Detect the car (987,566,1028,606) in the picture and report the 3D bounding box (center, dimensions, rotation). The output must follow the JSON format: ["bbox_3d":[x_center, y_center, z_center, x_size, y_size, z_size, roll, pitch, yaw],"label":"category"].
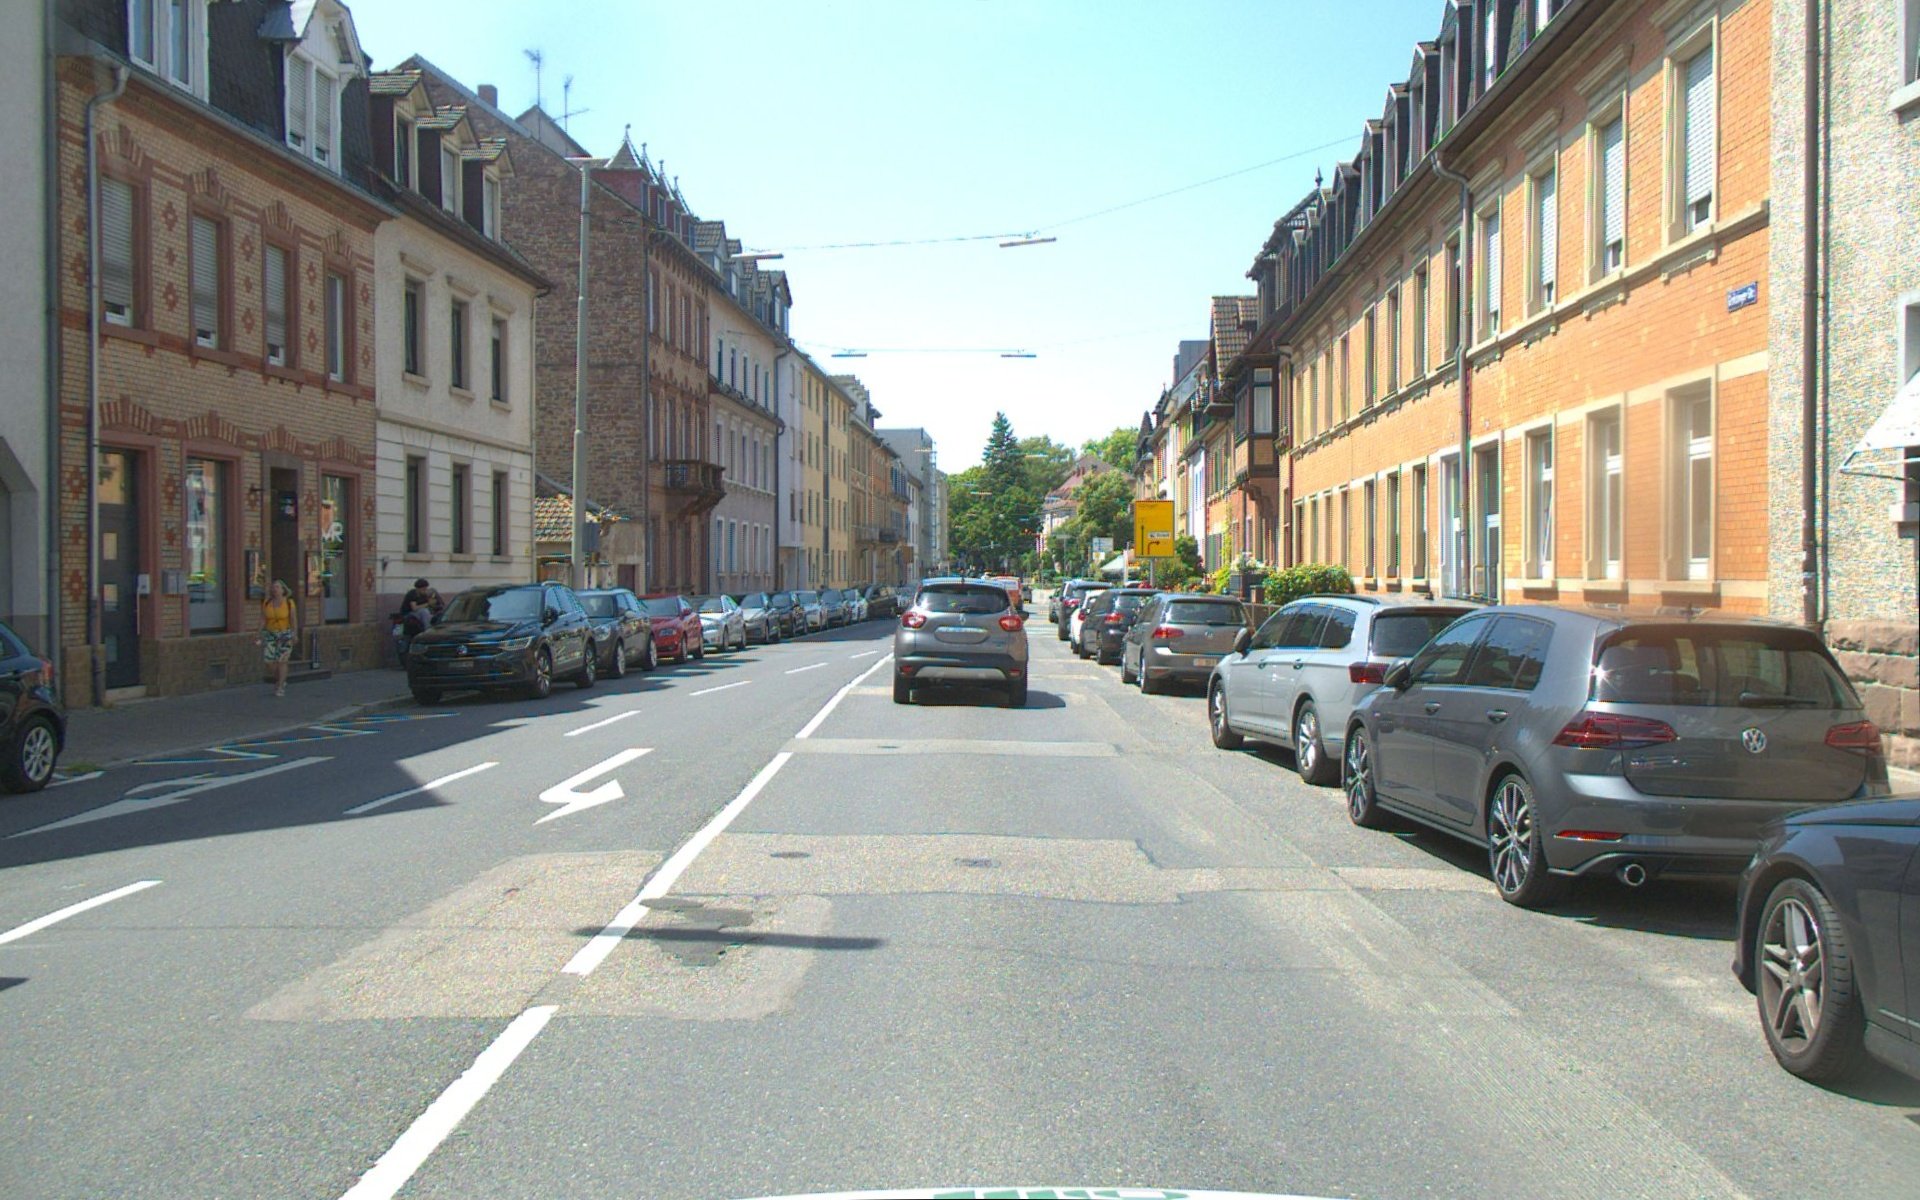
[{"bbox_3d":[2.571,-0.774,88.593,1.952,2.049,4.469,-1,1,4],"label":"car"}]

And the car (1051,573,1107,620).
[{"bbox_3d":[4.689,-0.168,65.801,1.822,1.778,4.618,1,1,-1],"label":"car"}]

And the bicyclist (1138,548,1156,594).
[{"bbox_3d":[6.192,-0.965,54.664,0.521,1.495,0.791,-1,0,3],"label":"bicyclist"}]

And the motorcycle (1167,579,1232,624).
[{"bbox_3d":[8.248,0.040,56.955,2.085,1.433,0.938,-2,0,1],"label":"motorcycle"}]

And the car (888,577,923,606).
[{"bbox_3d":[-3.394,-0.553,103.513,1.865,1.648,4.304,-3,1,2],"label":"car"}]

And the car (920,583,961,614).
[{"bbox_3d":[-0.912,-0.096,78.988,1.753,1.445,4.316,0,1,1],"label":"car"}]

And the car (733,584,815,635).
[{"bbox_3d":[-5.931,0.266,53.141,1.801,1.447,4.504,-4,0,3],"label":"car"}]

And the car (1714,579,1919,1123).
[{"bbox_3d":[3.484,0.703,3.612,1.676,1.499,4.438,-1,1,0],"label":"car"}]

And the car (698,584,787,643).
[{"bbox_3d":[-6.158,0.360,47.274,1.802,1.447,4.502,-5,0,0],"label":"car"}]

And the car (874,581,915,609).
[{"bbox_3d":[-3.712,-0.302,94.121,1.865,1.425,4.757,-3,1,3],"label":"car"}]

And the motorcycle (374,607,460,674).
[{"bbox_3d":[-9.540,0.693,29.119,0.827,1.097,1.872,-1,1,2],"label":"motorcycle"}]

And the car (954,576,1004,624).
[{"bbox_3d":[0.724,-0.021,61.848,1.775,1.649,4.442,-2,0,1],"label":"car"}]

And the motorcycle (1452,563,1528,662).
[{"bbox_3d":[6.930,0.154,21.683,0.583,1.246,1.361,0,0,1],"label":"motorcycle"}]

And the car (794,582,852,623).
[{"bbox_3d":[-5.275,0.068,64.319,1.802,1.447,4.646,-3,0,0],"label":"car"}]

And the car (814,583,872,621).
[{"bbox_3d":[-4.908,0.075,70.094,1.801,1.447,4.560,-3,0,3],"label":"car"}]

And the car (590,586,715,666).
[{"bbox_3d":[-6.371,0.487,34.717,1.803,1.447,4.501,-3,1,-1],"label":"car"}]

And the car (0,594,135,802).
[{"bbox_3d":[-8.079,0.731,12.135,1.802,1.514,4.502,2,0,-1],"label":"car"}]

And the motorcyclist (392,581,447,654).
[{"bbox_3d":[-9.547,0.307,29.225,0.703,1.270,0.712,-1,0,1],"label":"motorcyclist"}]

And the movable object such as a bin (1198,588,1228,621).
[{"bbox_3d":[7.366,0.134,48.221,0.772,0.923,0.539,-1,0,-1],"label":"movable object such as a bin"}]

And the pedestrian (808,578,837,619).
[{"bbox_3d":[-6.082,-0.070,73.033,1.127,1.780,0.970,-1,1,4],"label":"pedestrian"}]

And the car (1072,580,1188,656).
[{"bbox_3d":[3.391,0.336,33.737,1.616,1.439,4.498,0,0,-4],"label":"car"}]

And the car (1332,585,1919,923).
[{"bbox_3d":[3.433,0.653,9.277,1.618,1.445,4.046,0,1,-3],"label":"car"}]

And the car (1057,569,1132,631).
[{"bbox_3d":[3.863,-0.028,48.142,1.952,1.691,4.627,-1,0,2],"label":"car"}]

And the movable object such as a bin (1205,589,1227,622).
[{"bbox_3d":[8.409,0.166,54.335,0.645,1.073,0.749,0,1,3],"label":"movable object such as a bin"}]

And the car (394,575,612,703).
[{"bbox_3d":[-6.567,0.508,24.325,1.802,1.624,4.503,-3,0,1],"label":"car"}]

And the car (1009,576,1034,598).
[{"bbox_3d":[4.660,-0.980,125.268,1.726,1.587,3.944,-1,1,4],"label":"car"}]

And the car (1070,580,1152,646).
[{"bbox_3d":[3.501,0.267,38.970,1.680,1.439,4.591,-1,1,2],"label":"car"}]

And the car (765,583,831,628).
[{"bbox_3d":[-5.669,0.176,58.393,1.802,1.447,4.502,-3,0,0],"label":"car"}]

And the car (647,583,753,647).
[{"bbox_3d":[-6.443,0.346,41.413,1.802,1.447,4.503,-3,0,1],"label":"car"}]

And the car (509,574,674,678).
[{"bbox_3d":[-6.622,0.426,30.227,1.802,1.624,4.503,-4,0,1],"label":"car"}]

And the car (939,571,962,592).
[{"bbox_3d":[-0.882,-1.745,155.204,1.865,1.853,4.305,-1,1,4],"label":"car"}]

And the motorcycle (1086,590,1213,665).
[{"bbox_3d":[3.353,0.477,29.414,1.960,1.246,1.107,2,1,41],"label":"motorcycle"}]

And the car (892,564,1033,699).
[{"bbox_3d":[0.001,0.365,22.349,1.708,1.644,3.999,1,1,-1],"label":"car"}]

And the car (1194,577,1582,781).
[{"bbox_3d":[3.472,0.560,14.388,1.818,1.489,4.545,0,0,-6],"label":"car"}]

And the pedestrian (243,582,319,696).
[{"bbox_3d":[-9.336,0.516,22.773,0.595,1.521,0.971,1,1,2],"label":"pedestrian"}]

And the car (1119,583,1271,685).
[{"bbox_3d":[3.464,0.457,24.996,1.666,1.405,4.166,0,0,-1],"label":"car"}]
